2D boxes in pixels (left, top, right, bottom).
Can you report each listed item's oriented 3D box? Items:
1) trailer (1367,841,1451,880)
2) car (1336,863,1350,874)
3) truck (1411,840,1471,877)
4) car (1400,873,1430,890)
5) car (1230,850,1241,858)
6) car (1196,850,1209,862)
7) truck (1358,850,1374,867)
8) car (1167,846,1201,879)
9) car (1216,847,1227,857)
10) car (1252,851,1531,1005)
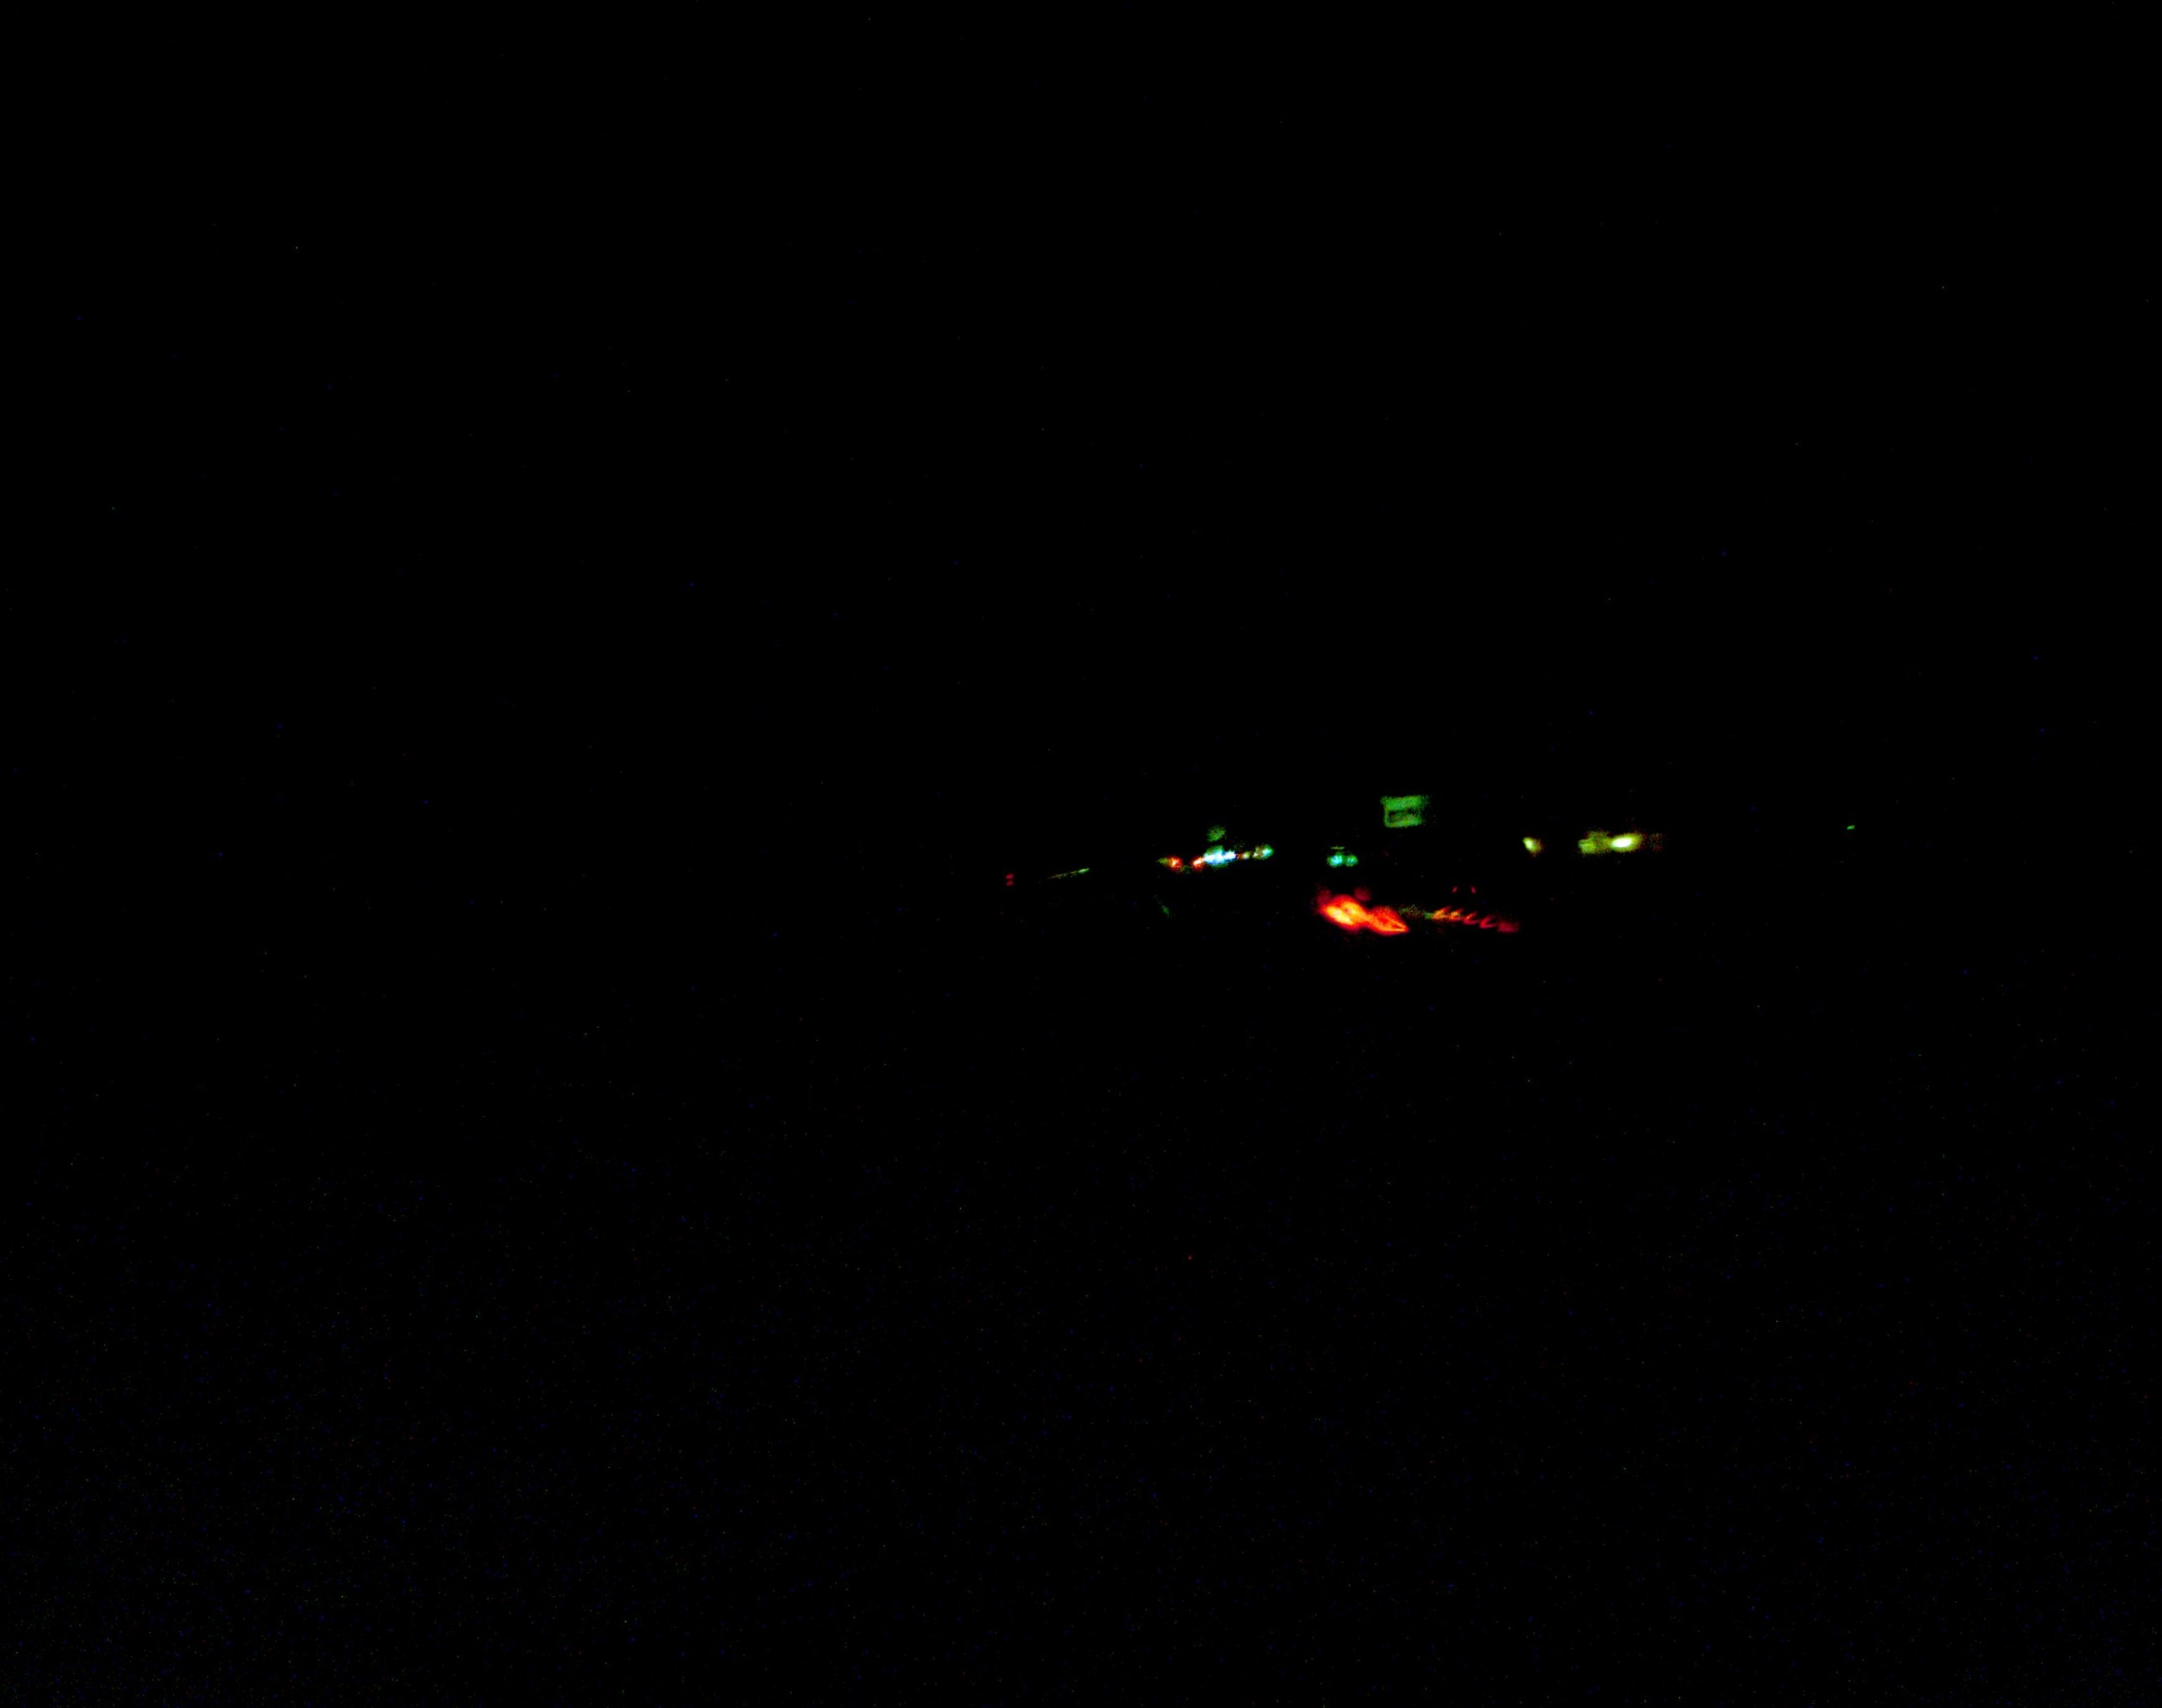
[{"bbox_3d":[44.066,0.775,101.924,11.568,4.768,3.331,-2,1,-24],"label":"trailer"},{"bbox_3d":[43.653,2.411,126.835,1.811,1.666,4.297,-1,1,14],"label":"car"},{"bbox_3d":[49.358,0.608,104.200,7.327,4.768,3.331,-2,1,-23],"label":"truck"},{"bbox_3d":[36.888,2.984,84.101,1.812,1.666,4.294,-2,1,6],"label":"car"},{"bbox_3d":[36.287,-0.062,178.003,1.810,1.666,4.298,-1,1,20],"label":"car"},{"bbox_3d":[18.458,0.254,115.449,1.792,1.614,4.378,-1,2,9],"label":"car"},{"bbox_3d":[58.687,0.905,156.522,2.759,3.462,8.116,-1,0,20],"label":"truck"},{"bbox_3d":[6.742,0.524,50.092,1.998,2.063,4.001,-2,1,5],"label":"car"},{"bbox_3d":[27.702,-0.359,149.660,1.996,1.795,4.600,-1,1,13],"label":"car"},{"bbox_3d":[3.848,0.782,10.445,1.998,1.604,4.611,-1,0,1],"label":"car"}]
